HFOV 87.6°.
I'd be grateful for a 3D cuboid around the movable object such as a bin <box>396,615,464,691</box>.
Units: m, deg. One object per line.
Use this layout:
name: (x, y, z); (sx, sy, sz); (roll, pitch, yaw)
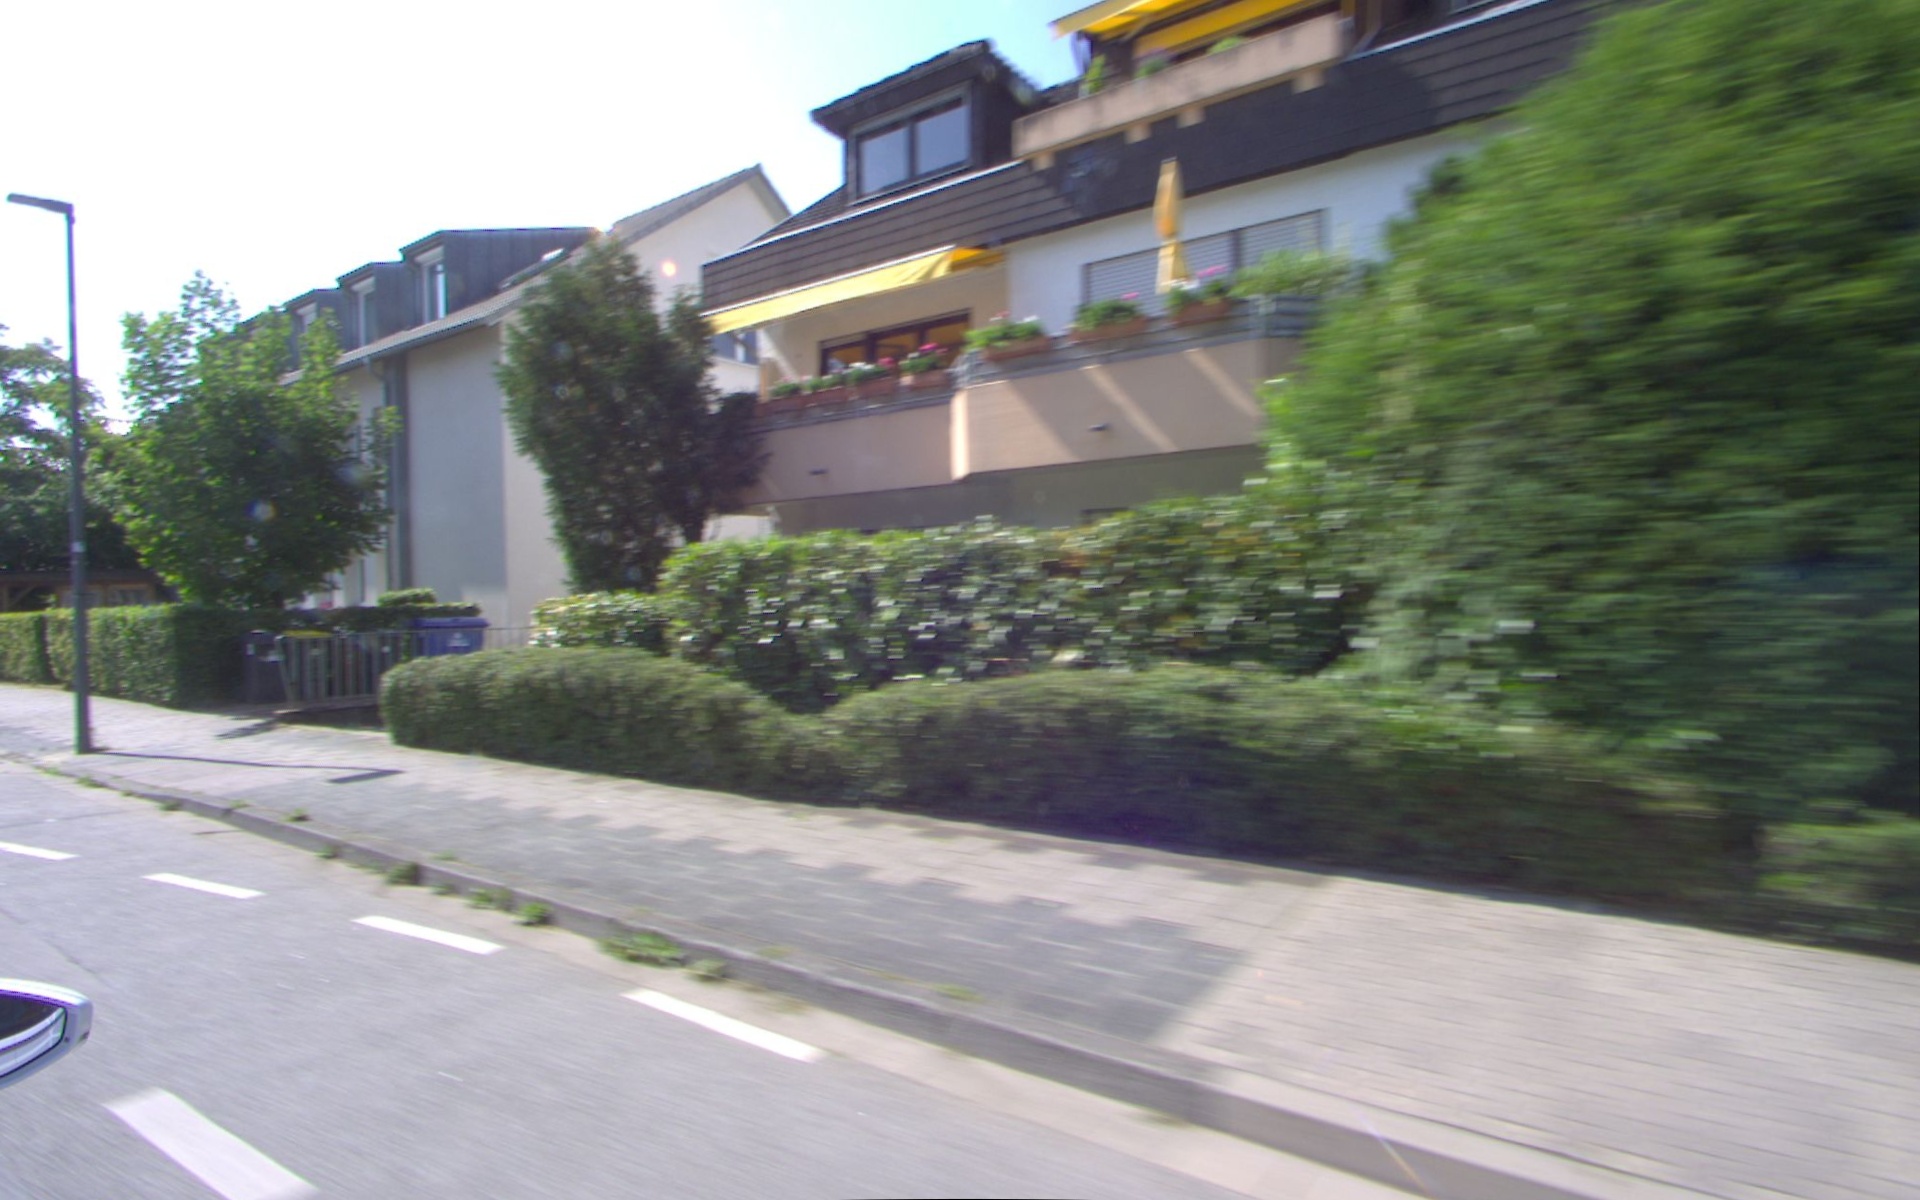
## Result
movable object such as a bin: (-9.230, 0.906, 17.449); (0.782, 1.260, 0.745); (-1, 0, 32)
